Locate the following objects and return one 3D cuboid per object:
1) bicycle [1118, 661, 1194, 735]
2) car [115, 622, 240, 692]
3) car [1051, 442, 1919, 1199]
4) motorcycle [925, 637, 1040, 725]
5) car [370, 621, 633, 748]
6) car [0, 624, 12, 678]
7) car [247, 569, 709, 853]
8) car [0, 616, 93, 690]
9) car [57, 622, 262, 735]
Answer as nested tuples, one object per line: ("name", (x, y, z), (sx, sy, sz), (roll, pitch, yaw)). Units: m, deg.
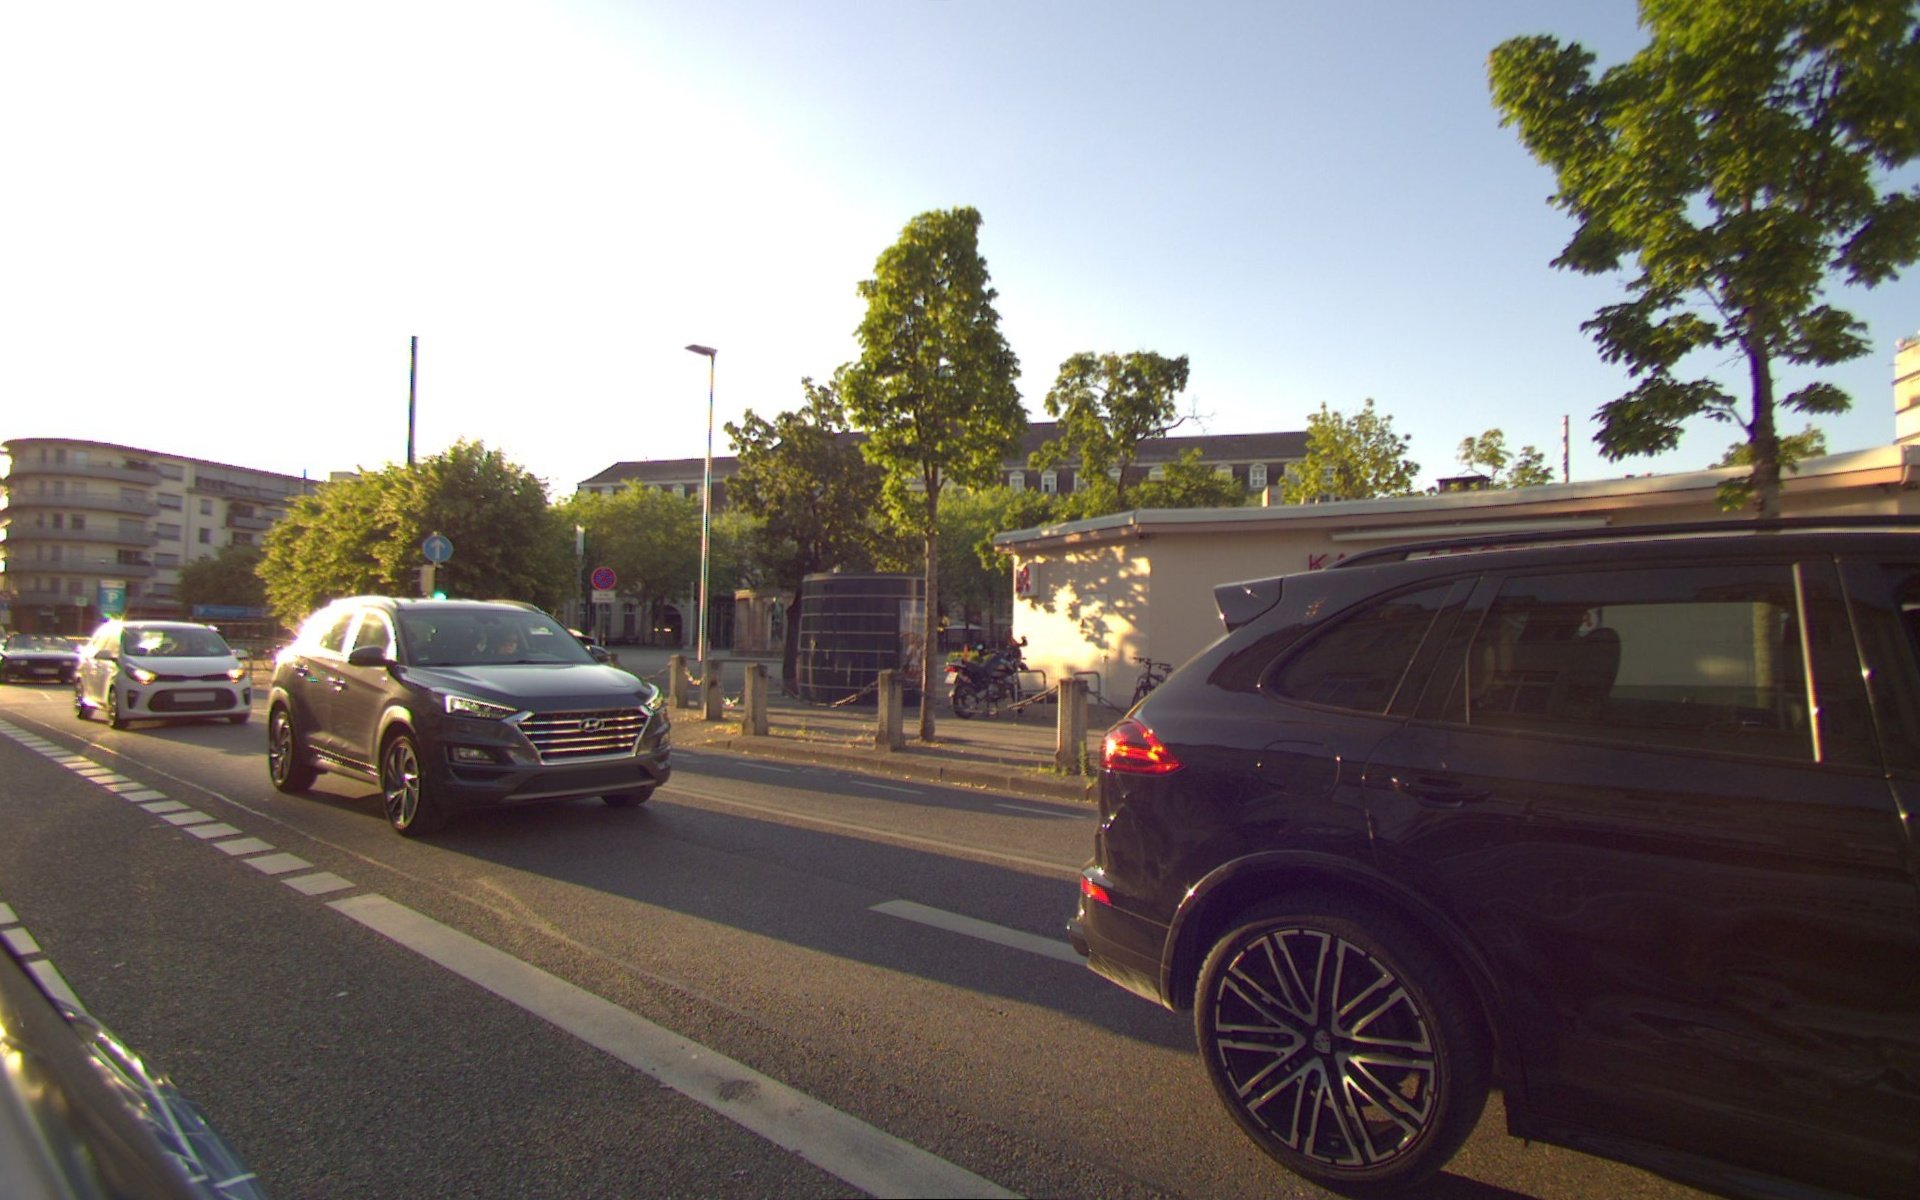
("bicycle", (3.158, 1.532, 16.191), (0.395, 1.111, 1.787), (-2, -4, 39))
("car", (-21.150, 1.526, 27.295), (3.983, 1.711, 1.804), (-2, -6, 41))
("car", (2.573, 0.590, 2.279), (4.566, 1.711, 1.781), (-2, -3, 41))
("motorcycle", (0.437, 1.406, 17.908), (0.700, 1.457, 2.368), (-2, -4, 39))
("car", (-6.713, 1.178, 14.670), (3.996, 1.593, 1.804), (-1, -7, 40))
("car", (-33.606, 1.672, 34.187), (3.983, 1.754, 1.803), (-2, -5, 41))
("car", (-4.062, 0.756, 8.213), (4.257, 1.711, 1.803), (-2, -4, 41))
("car", (-23.982, 1.355, 26.122), (3.983, 1.754, 1.803), (-2, -5, 41))
("car", (-12.138, 1.105, 15.260), (3.983, 1.483, 1.696), (-2, -4, 41))
